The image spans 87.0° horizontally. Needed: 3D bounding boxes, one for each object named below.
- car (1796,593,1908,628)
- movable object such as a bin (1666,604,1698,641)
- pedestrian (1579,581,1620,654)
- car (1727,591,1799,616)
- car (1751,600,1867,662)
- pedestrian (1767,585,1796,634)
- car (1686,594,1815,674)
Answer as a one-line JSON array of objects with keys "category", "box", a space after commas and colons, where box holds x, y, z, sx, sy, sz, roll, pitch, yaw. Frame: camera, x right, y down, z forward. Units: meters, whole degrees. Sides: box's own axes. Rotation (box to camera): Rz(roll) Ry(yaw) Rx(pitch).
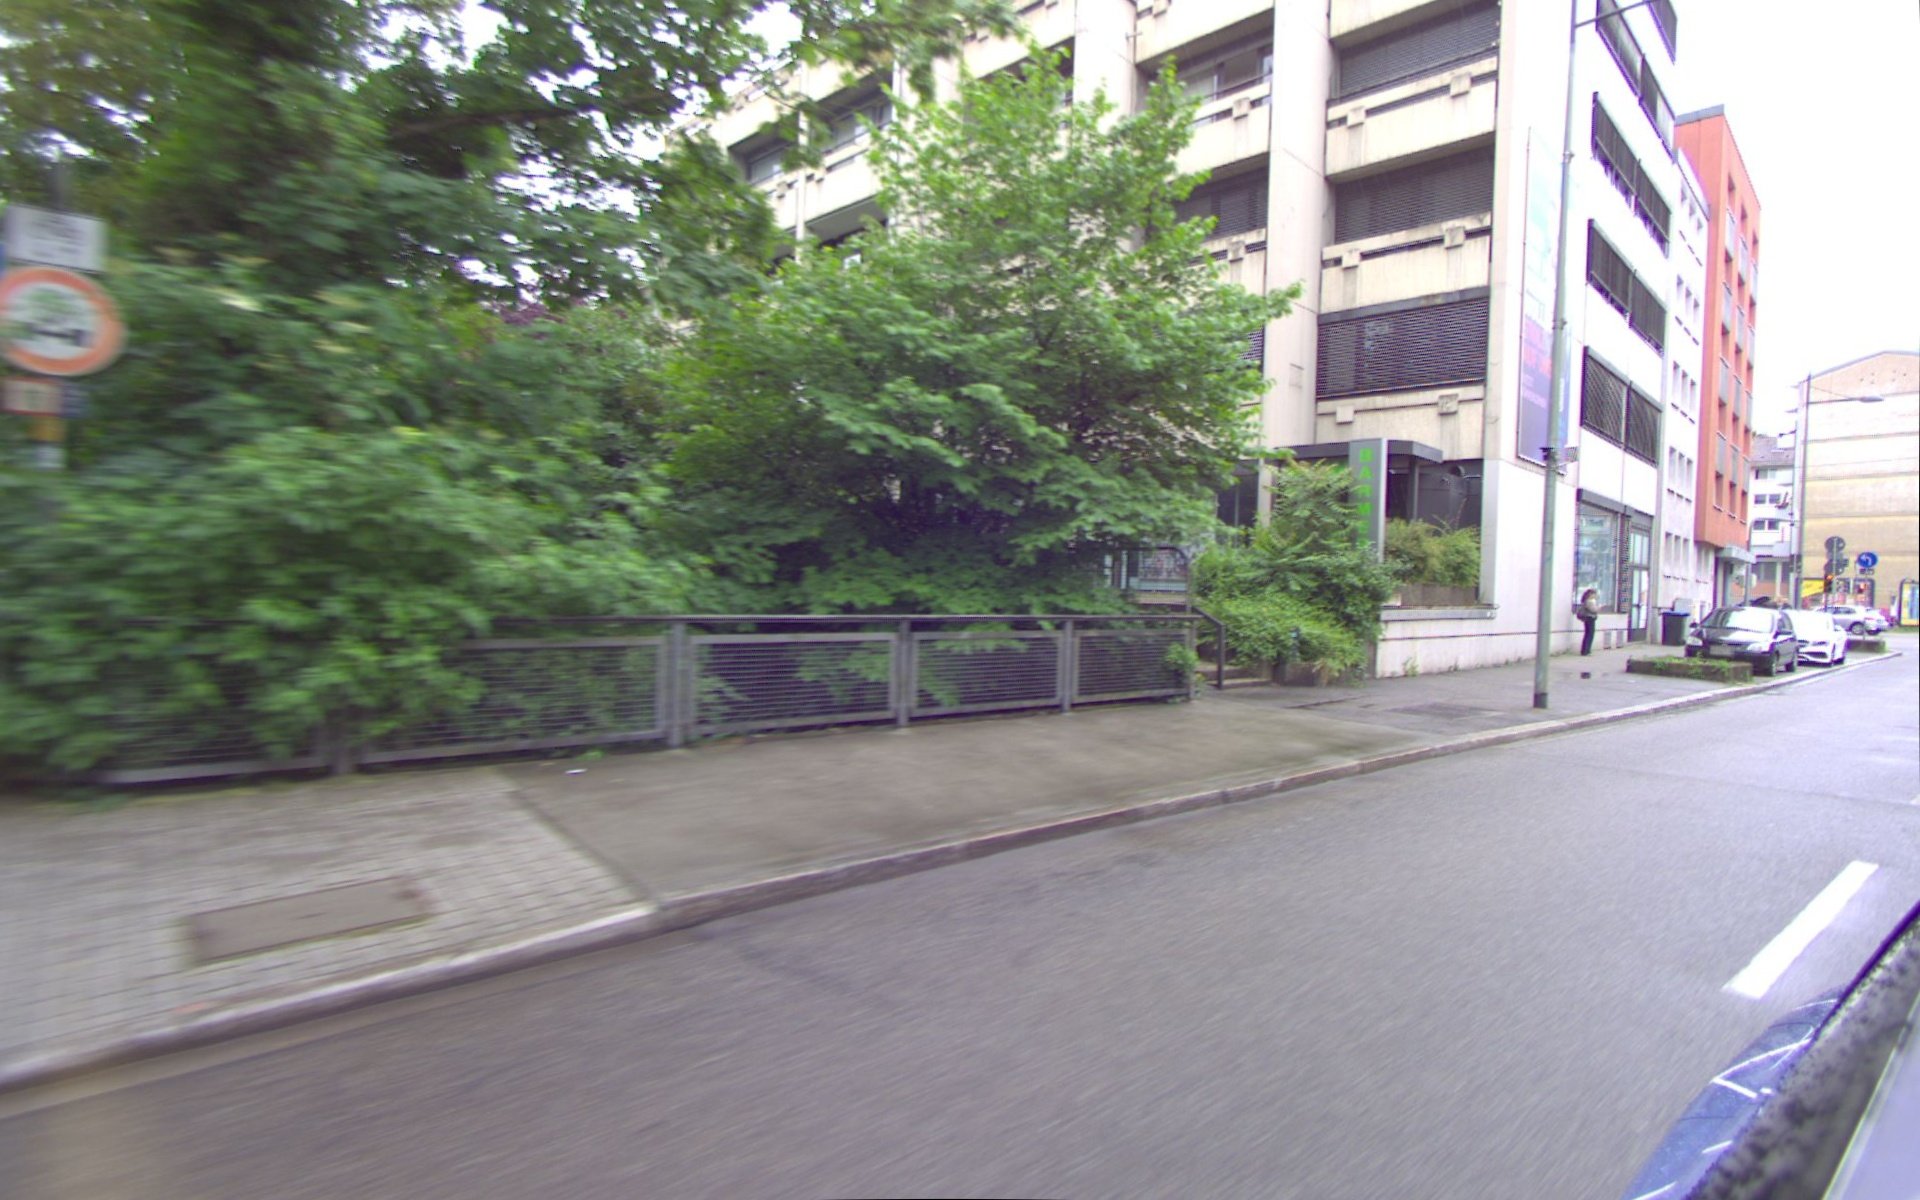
[{"category": "car", "box": [47.217, 0.535, 53.669, 1.798, 1.641, 4.009, 1, 1, -21]}, {"category": "movable object such as a bin", "box": [22.525, 0.690, 31.580, 0.505, 1.117, 0.680, 1, 1, -43]}, {"category": "pedestrian", "box": [15.288, 0.407, 24.210, 0.598, 1.679, 0.681, 6, 4, 42]}, {"category": "car", "box": [60.243, 0.230, 75.957, 1.801, 1.732, 3.800, 1, 1, -22]}, {"category": "car", "box": [23.053, 0.783, 27.429, 4.493, 1.437, 1.833, 1, 3, -43]}, {"category": "pedestrian", "box": [36.998, 0.412, 45.573, 0.797, 2.180, 0.732, 2, 1, 25]}, {"category": "car", "box": [18.082, 0.719, 23.104, 3.741, 1.577, 1.705, 1, 3, -43]}]
